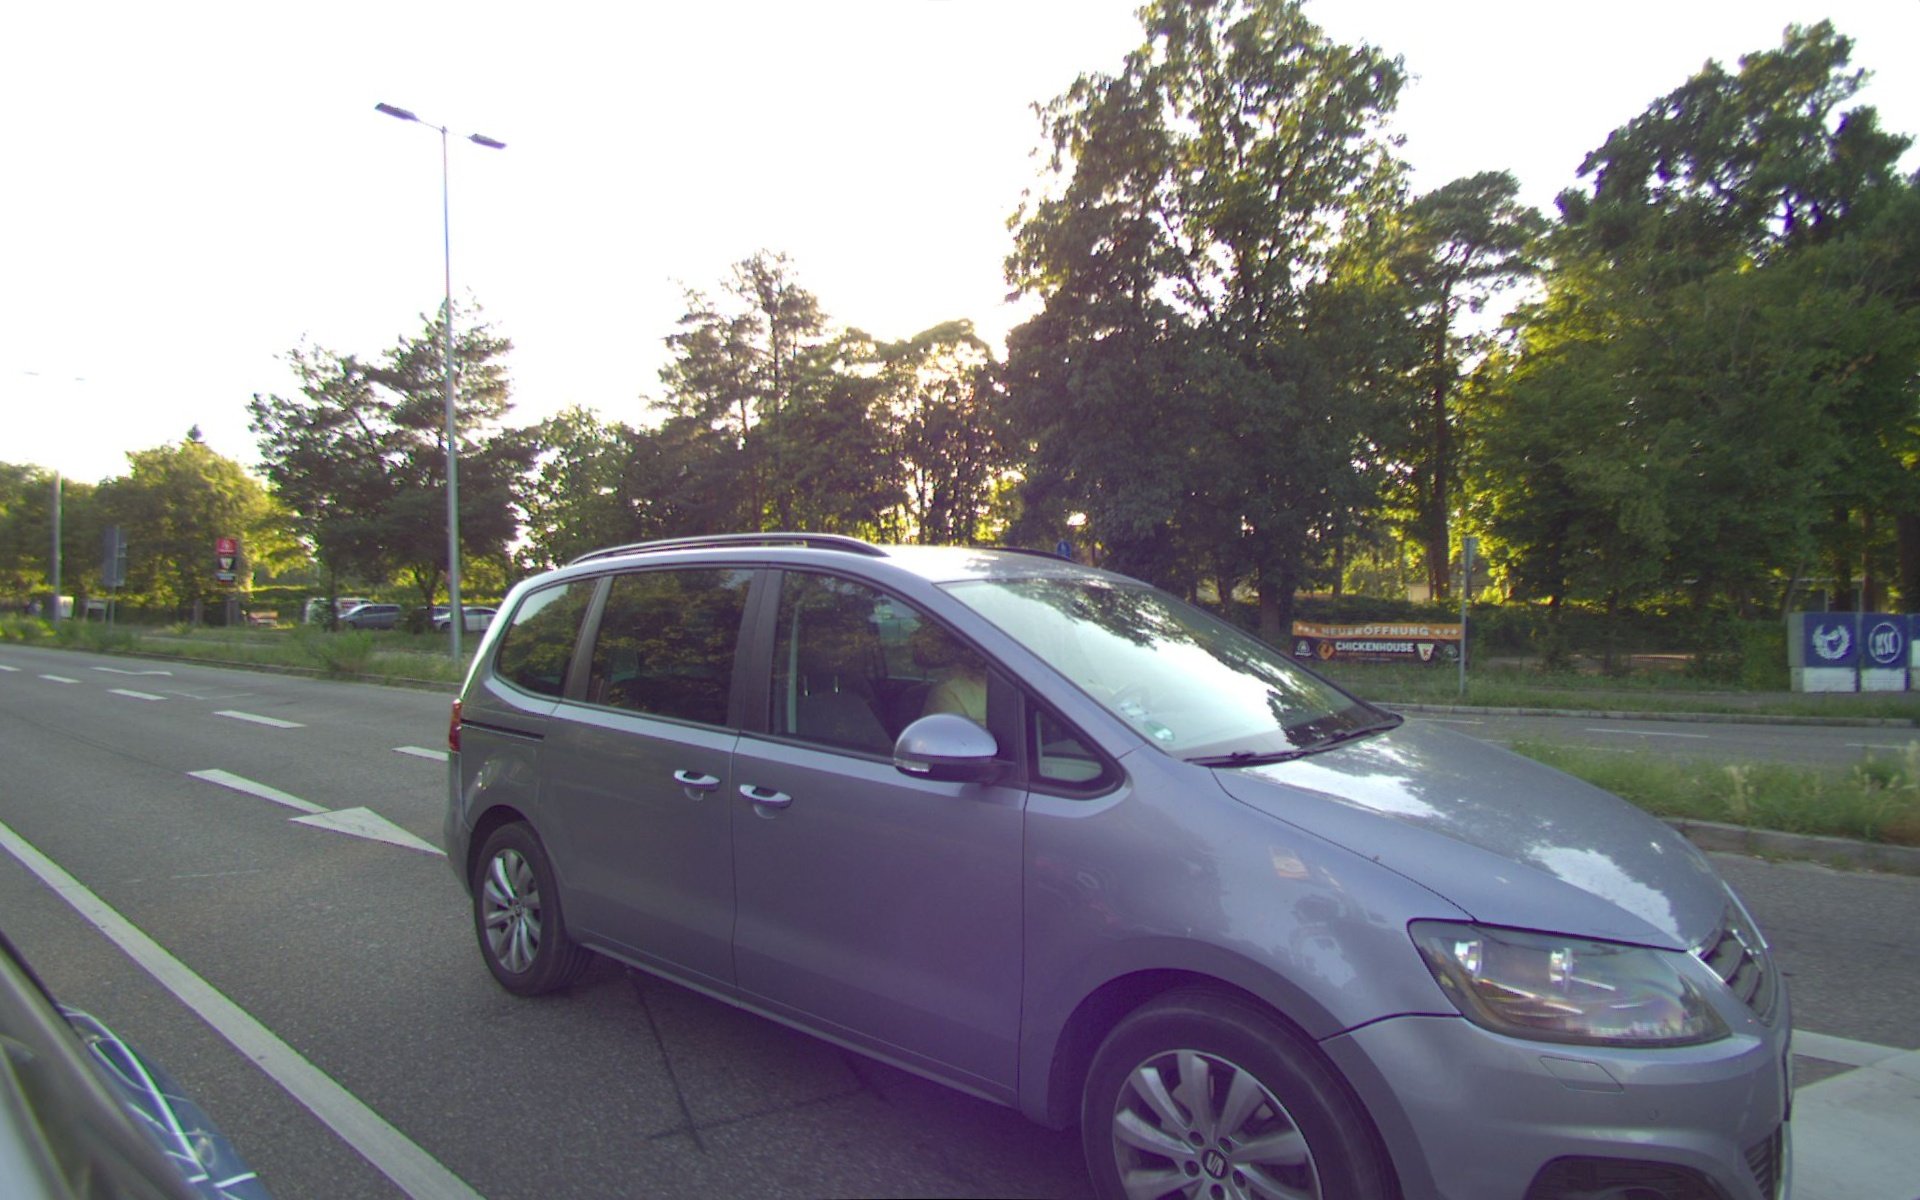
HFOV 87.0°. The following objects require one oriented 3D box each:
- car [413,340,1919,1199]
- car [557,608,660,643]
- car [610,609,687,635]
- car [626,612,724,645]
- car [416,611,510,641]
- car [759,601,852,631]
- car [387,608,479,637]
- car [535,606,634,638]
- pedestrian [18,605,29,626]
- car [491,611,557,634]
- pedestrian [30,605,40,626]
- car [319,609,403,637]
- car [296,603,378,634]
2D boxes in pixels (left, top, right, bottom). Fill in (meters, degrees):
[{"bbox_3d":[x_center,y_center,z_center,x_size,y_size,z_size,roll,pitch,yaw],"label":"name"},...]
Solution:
[{"bbox_3d":[0.074,0.569,3.485,4.655,1.737,1.847,-1,-1,40],"label":"car"},{"bbox_3d":[-15.624,1.116,45.074,1.761,1.490,3.995,-1,-1,40],"label":"car"},{"bbox_3d":[-17.729,1.241,57.498,4.538,1.417,1.843,-1,-1,36],"label":"car"},{"bbox_3d":[-12.302,1.193,43.600,4.489,1.334,1.659,-1,-1,36],"label":"car"},{"bbox_3d":[-26.437,1.364,53.926,1.780,1.490,4.120,-1,-1,36],"label":"car"},{"bbox_3d":[-7.654,0.765,49.903,4.538,1.417,1.843,-1,-1,36],"label":"car"},{"bbox_3d":[-28.870,1.222,55.538,1.780,1.490,4.120,-1,-1,36],"label":"car"},{"bbox_3d":[-17.760,1.044,47.995,1.997,1.464,3.950,0,-1,37],"label":"car"},{"bbox_3d":[-78.688,1.328,85.042,0.676,1.759,0.560,-1,0,40],"label":"pedestrian"},{"bbox_3d":[-28.125,1.416,65.242,4.538,1.417,1.843,-1,-1,36],"label":"car"},{"bbox_3d":[-78.239,1.305,85.590,0.676,1.788,0.560,-1,0,40],"label":"pedestrian"},{"bbox_3d":[-35.944,1.358,60.755,1.824,1.649,3.947,-1,-1,39],"label":"car"},{"bbox_3d":[-38.482,1.129,62.535,1.824,1.879,3.947,-1,-1,39],"label":"car"}]
